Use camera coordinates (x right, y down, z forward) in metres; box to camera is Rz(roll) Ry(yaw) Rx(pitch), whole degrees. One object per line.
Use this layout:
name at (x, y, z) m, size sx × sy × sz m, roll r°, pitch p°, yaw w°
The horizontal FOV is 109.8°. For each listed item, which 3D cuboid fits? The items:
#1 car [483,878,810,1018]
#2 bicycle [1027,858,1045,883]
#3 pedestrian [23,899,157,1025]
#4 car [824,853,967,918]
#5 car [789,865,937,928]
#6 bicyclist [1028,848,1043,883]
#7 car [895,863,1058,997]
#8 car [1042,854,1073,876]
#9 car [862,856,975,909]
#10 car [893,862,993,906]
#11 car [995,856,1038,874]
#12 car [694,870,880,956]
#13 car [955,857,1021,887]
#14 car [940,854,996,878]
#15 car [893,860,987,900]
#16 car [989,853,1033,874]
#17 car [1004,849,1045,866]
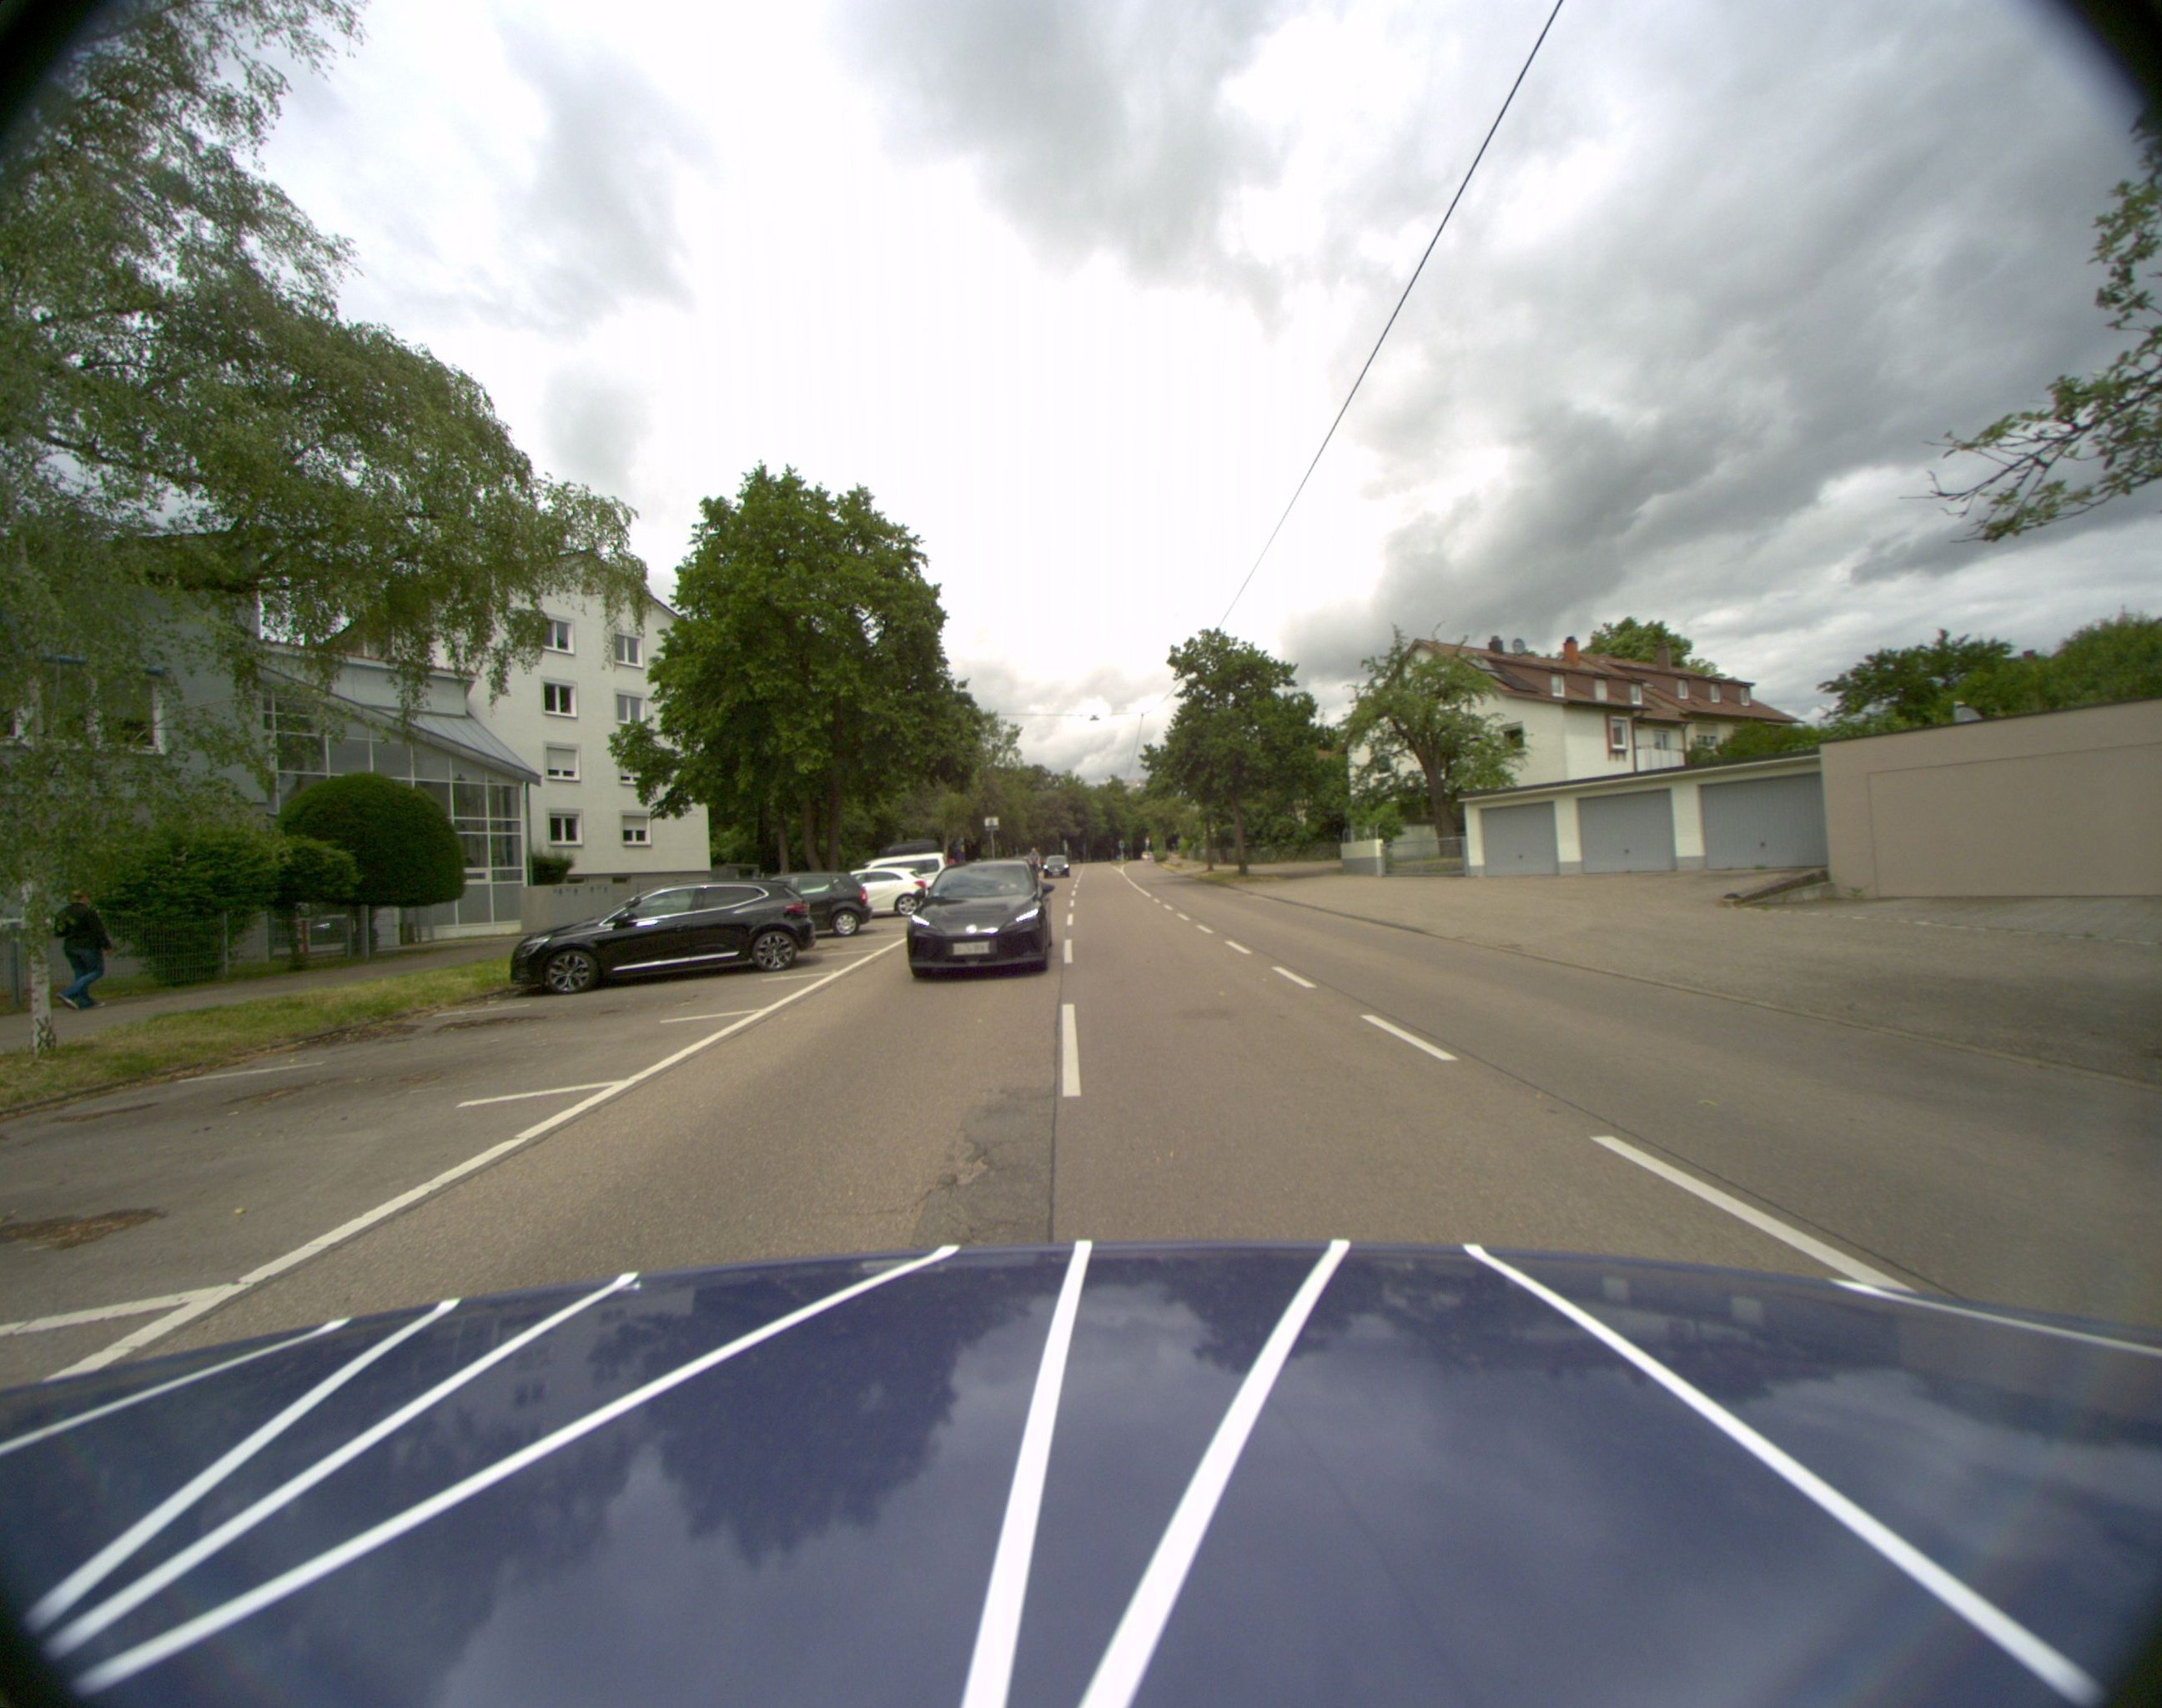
car at (-6.193, 1.259, 11.314) m, size 3.860 × 1.426 × 1.712 m, roll -4°, pitch 3°, yaw -24°
bicycle at (-2.345, 0.829, 39.142) m, size 0.648 × 1.230 × 1.875 m, roll -3°, pitch 1°, yaw -10°
pedestrian at (-12.998, 1.382, 9.996) m, size 0.694 × 1.495 × 0.777 m, roll -3°, pitch 1°, yaw -19°
car at (-6.137, 0.981, 25.116) m, size 4.226 × 1.748 × 1.855 m, roll -4°, pitch 1°, yaw -24°
car at (-6.207, 1.167, 21.942) m, size 3.859 × 1.430 × 1.714 m, roll -4°, pitch 1°, yaw -14°
bicyclist at (-2.334, 0.600, 39.063) m, size 0.648 × 1.769 × 0.627 m, roll -2°, pitch 2°, yaw -11°
car at (-1.335, 0.951, 11.187) m, size 1.813 × 1.484 × 3.792 m, roll -2°, pitch 1°, yaw 0°
car at (-1.544, 0.726, 51.619) m, size 1.861 × 1.366 × 4.076 m, roll -3°, pitch 0°, yaw 1°
car at (-6.022, 1.006, 28.161) m, size 3.859 × 1.634 × 1.851 m, roll -4°, pitch 1°, yaw -14°
car at (-5.656, 1.185, 31.092) m, size 3.859 × 1.426 × 1.653 m, roll -4°, pitch 1°, yaw -14°
car at (-6.138, 1.023, 71.990) m, size 3.857 × 1.379 × 1.654 m, roll -4°, pitch 1°, yaw -7°
car at (-6.354, 1.212, 16.667) m, size 3.516 × 1.456 × 1.713 m, roll -4°, pitch 1°, yaw -20°
car at (-5.934, 1.133, 48.472) m, size 3.860 × 1.603 × 1.652 m, roll -4°, pitch 1°, yaw -19°
car at (-8.609, 0.913, 57.630) m, size 3.860 × 1.549 × 1.652 m, roll -4°, pitch 1°, yaw -19°
car at (-6.200, 1.103, 33.333) m, size 3.859 × 1.426 × 1.653 m, roll -4°, pitch 1°, yaw -14°
car at (-6.390, 0.850, 69.336) m, size 3.857 × 1.553 × 1.654 m, roll -4°, pitch 1°, yaw -7°
car at (-5.555, 0.309, 74.059) m, size 3.857 × 1.379 × 1.654 m, roll -4°, pitch 1°, yaw -7°
